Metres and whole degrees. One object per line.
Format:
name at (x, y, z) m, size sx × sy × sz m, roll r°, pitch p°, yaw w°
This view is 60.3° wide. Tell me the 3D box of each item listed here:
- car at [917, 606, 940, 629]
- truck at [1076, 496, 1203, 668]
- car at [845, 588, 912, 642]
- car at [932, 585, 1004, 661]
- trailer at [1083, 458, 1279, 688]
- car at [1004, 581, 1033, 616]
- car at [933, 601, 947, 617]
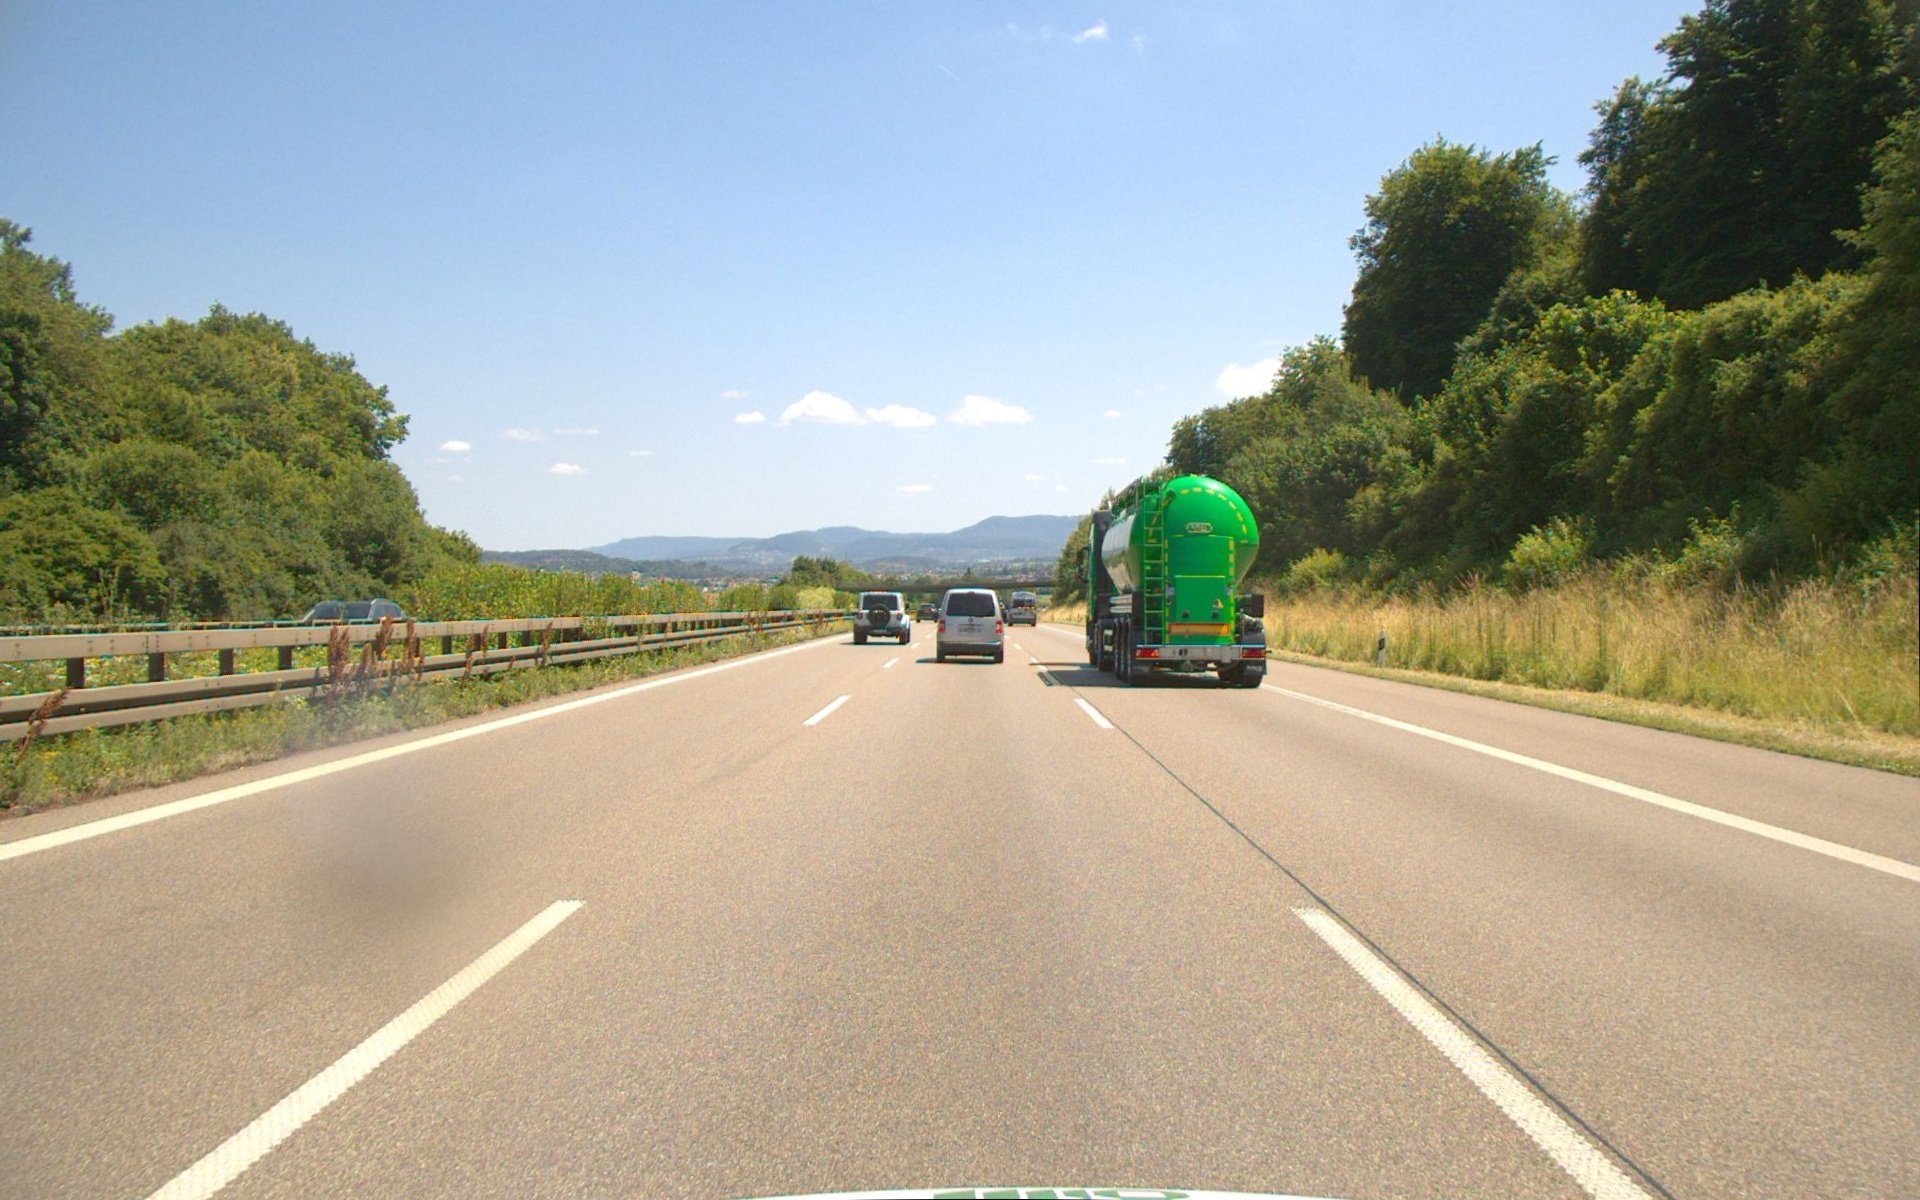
car at (-2.816, 1.562, 148.385) m, size 1.952 × 2.049 × 4.000 m, roll 1°, pitch 0°, yaw 0°
truck at (4.273, -0.417, 40.212) m, size 2.458 × 3.909 × 4.891 m, roll 1°, pitch 0°, yaw -1°
car at (-2.945, 0.509, 60.503) m, size 2.040 × 1.861 × 4.754 m, roll 1°, pitch 0°, yaw 2°
car at (0.160, 0.555, 43.123) m, size 1.710 × 1.861 × 4.799 m, roll 1°, pitch 0°, yaw -1°
trailer at (4.368, -0.510, 34.986) m, size 2.535 × 4.098 × 10.468 m, roll 1°, pitch 0°, yaw -1°
car at (4.433, -0.117, 126.218) m, size 2.046 × 2.621 × 6.623 m, roll 1°, pitch 0°, yaw 1°
car at (-2.691, 1.231, 220.230) m, size 1.663 × 2.049 × 3.822 m, roll 1°, pitch 0°, yaw 1°
